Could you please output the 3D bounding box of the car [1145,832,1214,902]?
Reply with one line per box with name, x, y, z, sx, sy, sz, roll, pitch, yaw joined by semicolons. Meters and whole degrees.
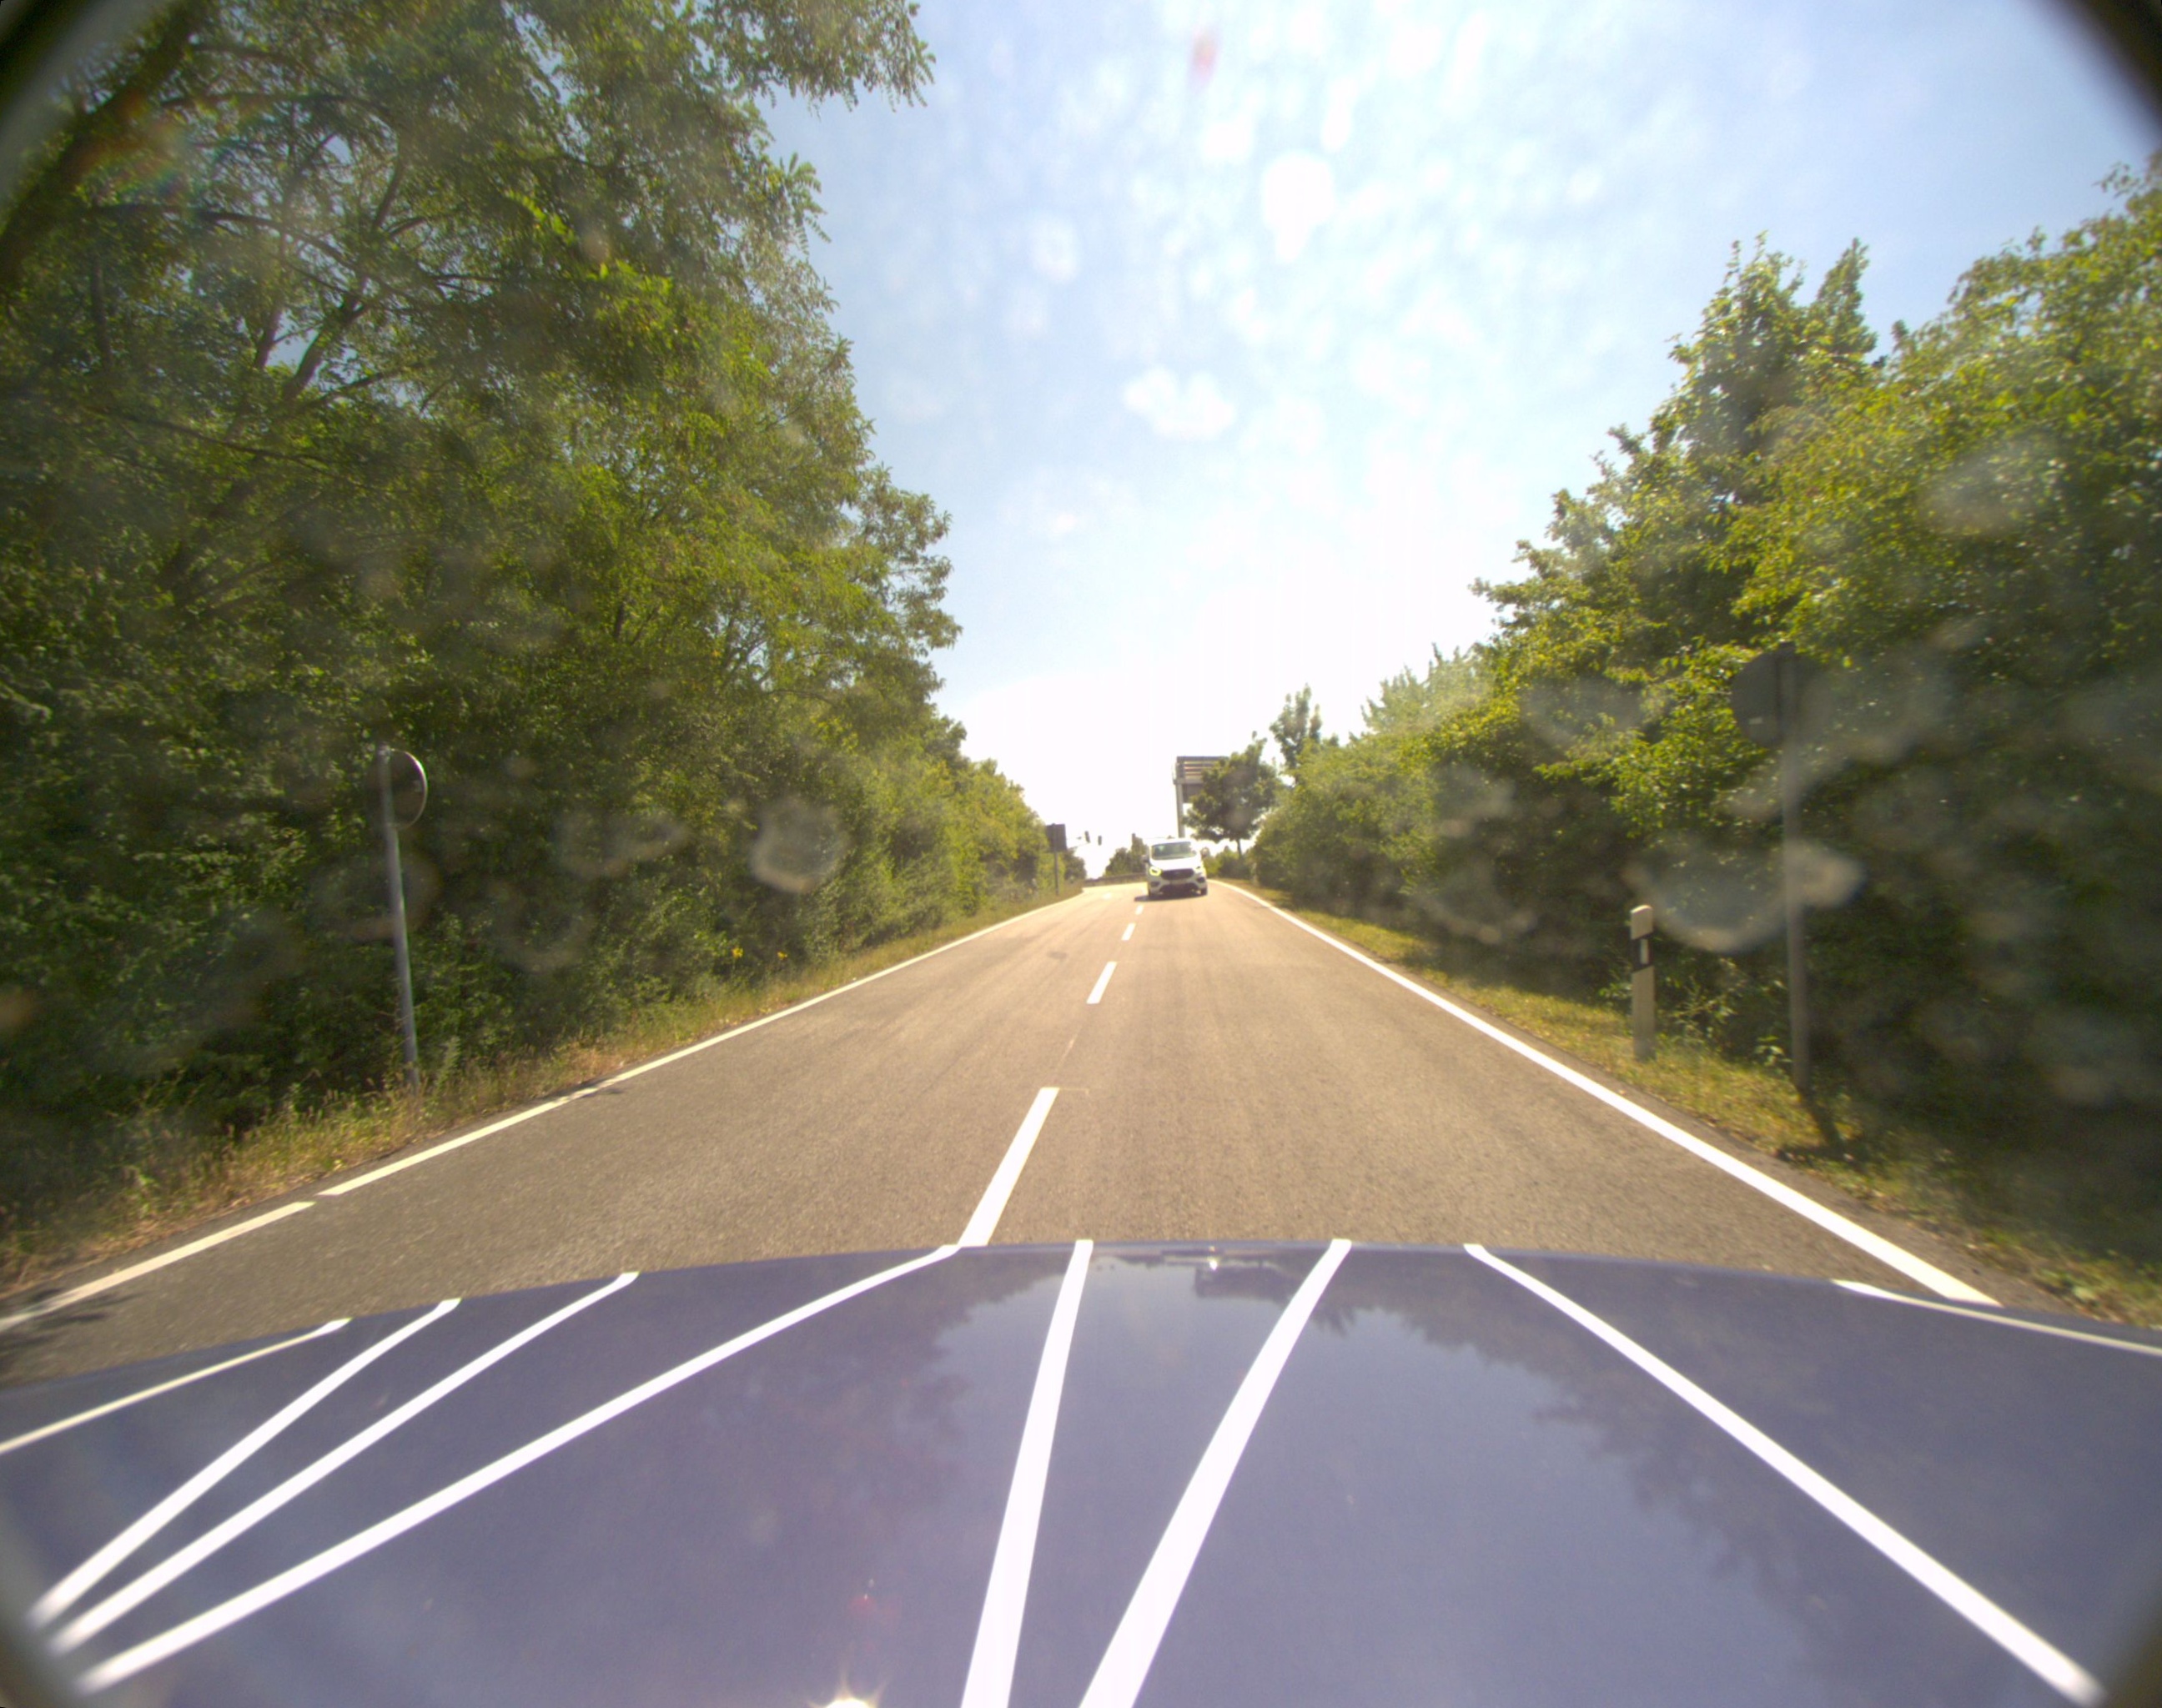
car;3.346;0.435;26.844;2.030;2.072;5.875;-4;-1;5
